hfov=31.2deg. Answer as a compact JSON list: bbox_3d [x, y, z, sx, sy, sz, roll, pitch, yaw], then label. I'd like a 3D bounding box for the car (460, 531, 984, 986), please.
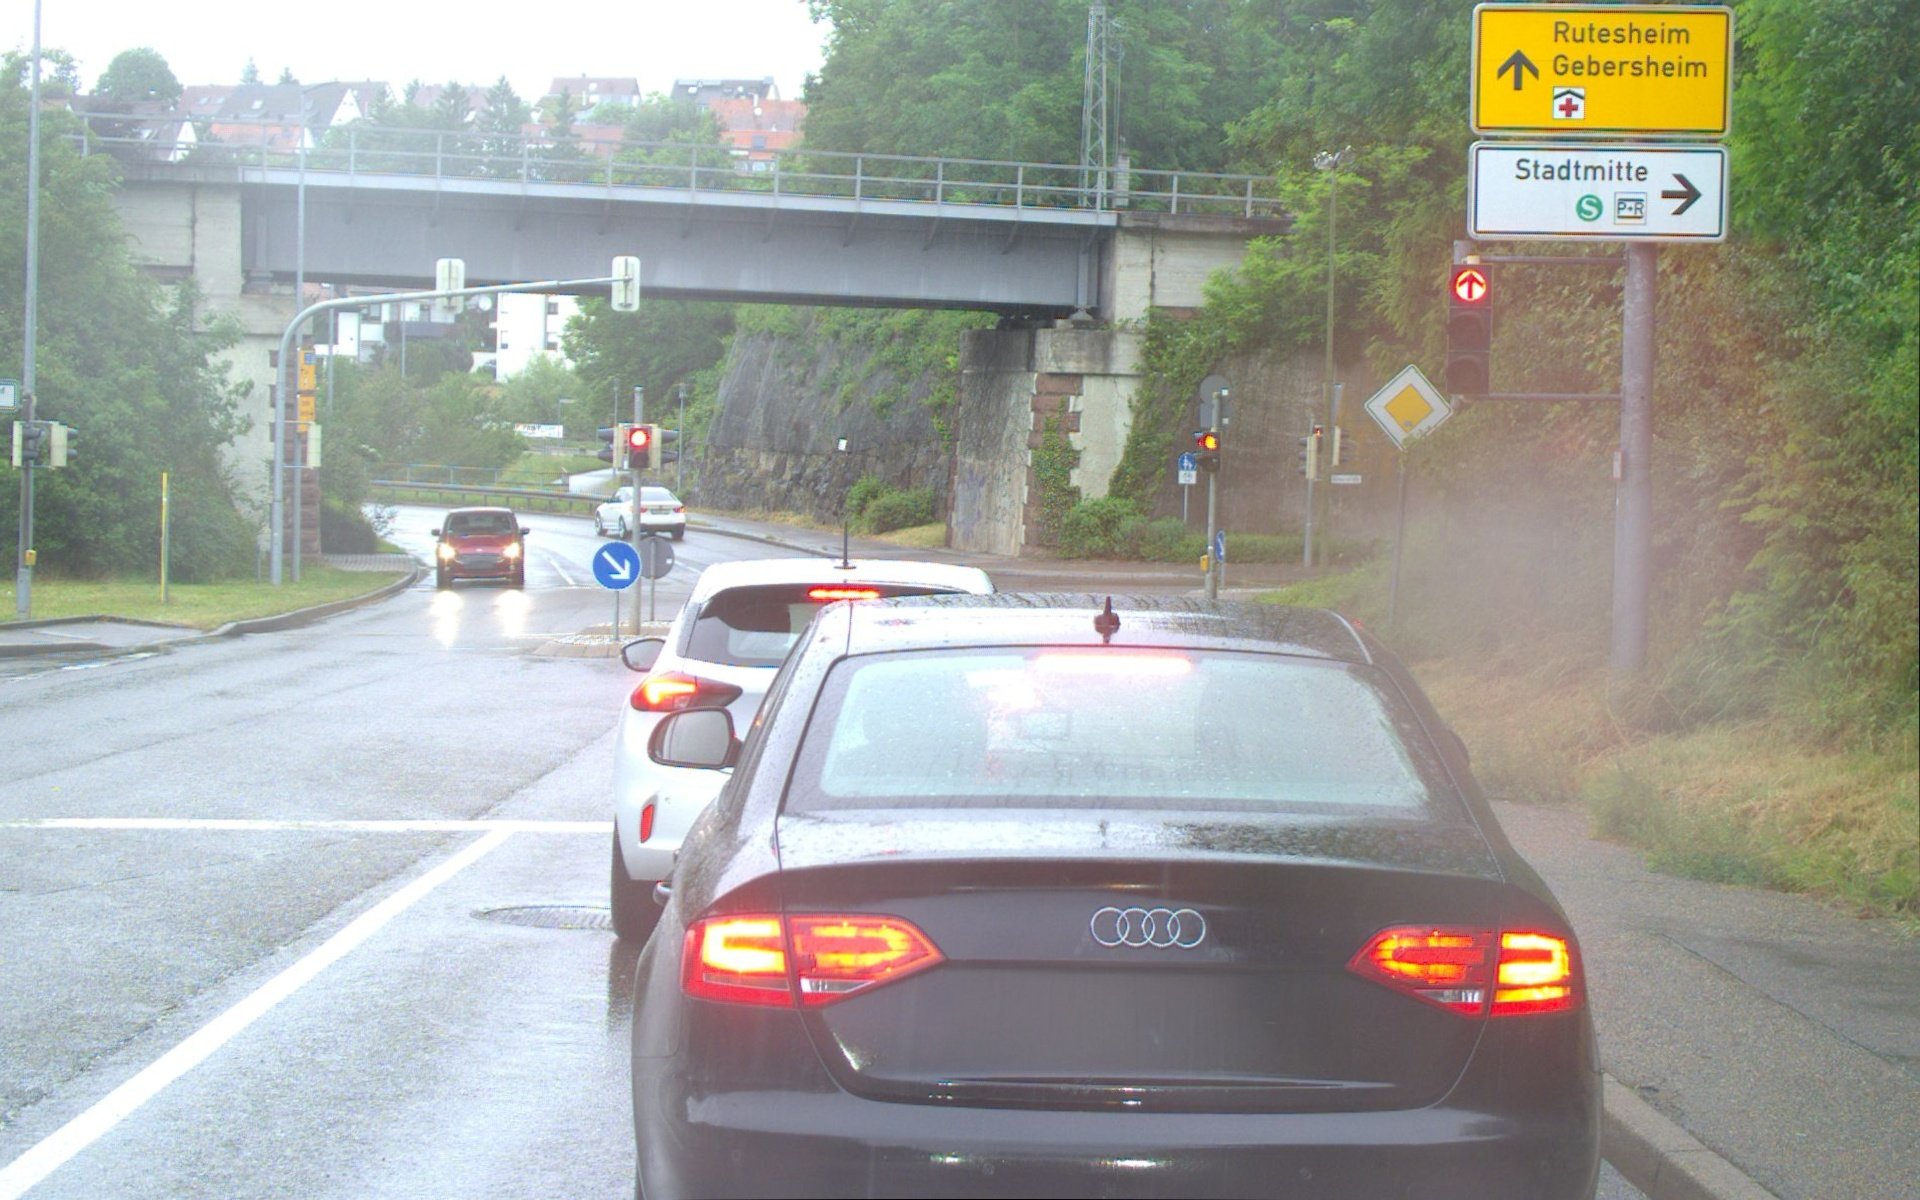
[{"bbox_3d":[-0.859,0.556,14.050,1.823,1.579,4.000,0,0,-1],"label":"car"}]

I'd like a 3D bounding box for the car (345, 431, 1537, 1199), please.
[{"bbox_3d":[-0.056,0.548,7.422,1.870,1.611,4.000,0,0,-1],"label":"car"}]

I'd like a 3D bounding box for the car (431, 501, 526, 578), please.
[{"bbox_3d":[-10.472,-1.321,74.944,1.993,1.622,4.001,0,1,-7],"label":"car"}]

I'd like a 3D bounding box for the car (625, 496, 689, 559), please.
[{"bbox_3d":[-8.964,-2.122,101.508,1.804,1.736,4.481,1,0,-6],"label":"car"}]
